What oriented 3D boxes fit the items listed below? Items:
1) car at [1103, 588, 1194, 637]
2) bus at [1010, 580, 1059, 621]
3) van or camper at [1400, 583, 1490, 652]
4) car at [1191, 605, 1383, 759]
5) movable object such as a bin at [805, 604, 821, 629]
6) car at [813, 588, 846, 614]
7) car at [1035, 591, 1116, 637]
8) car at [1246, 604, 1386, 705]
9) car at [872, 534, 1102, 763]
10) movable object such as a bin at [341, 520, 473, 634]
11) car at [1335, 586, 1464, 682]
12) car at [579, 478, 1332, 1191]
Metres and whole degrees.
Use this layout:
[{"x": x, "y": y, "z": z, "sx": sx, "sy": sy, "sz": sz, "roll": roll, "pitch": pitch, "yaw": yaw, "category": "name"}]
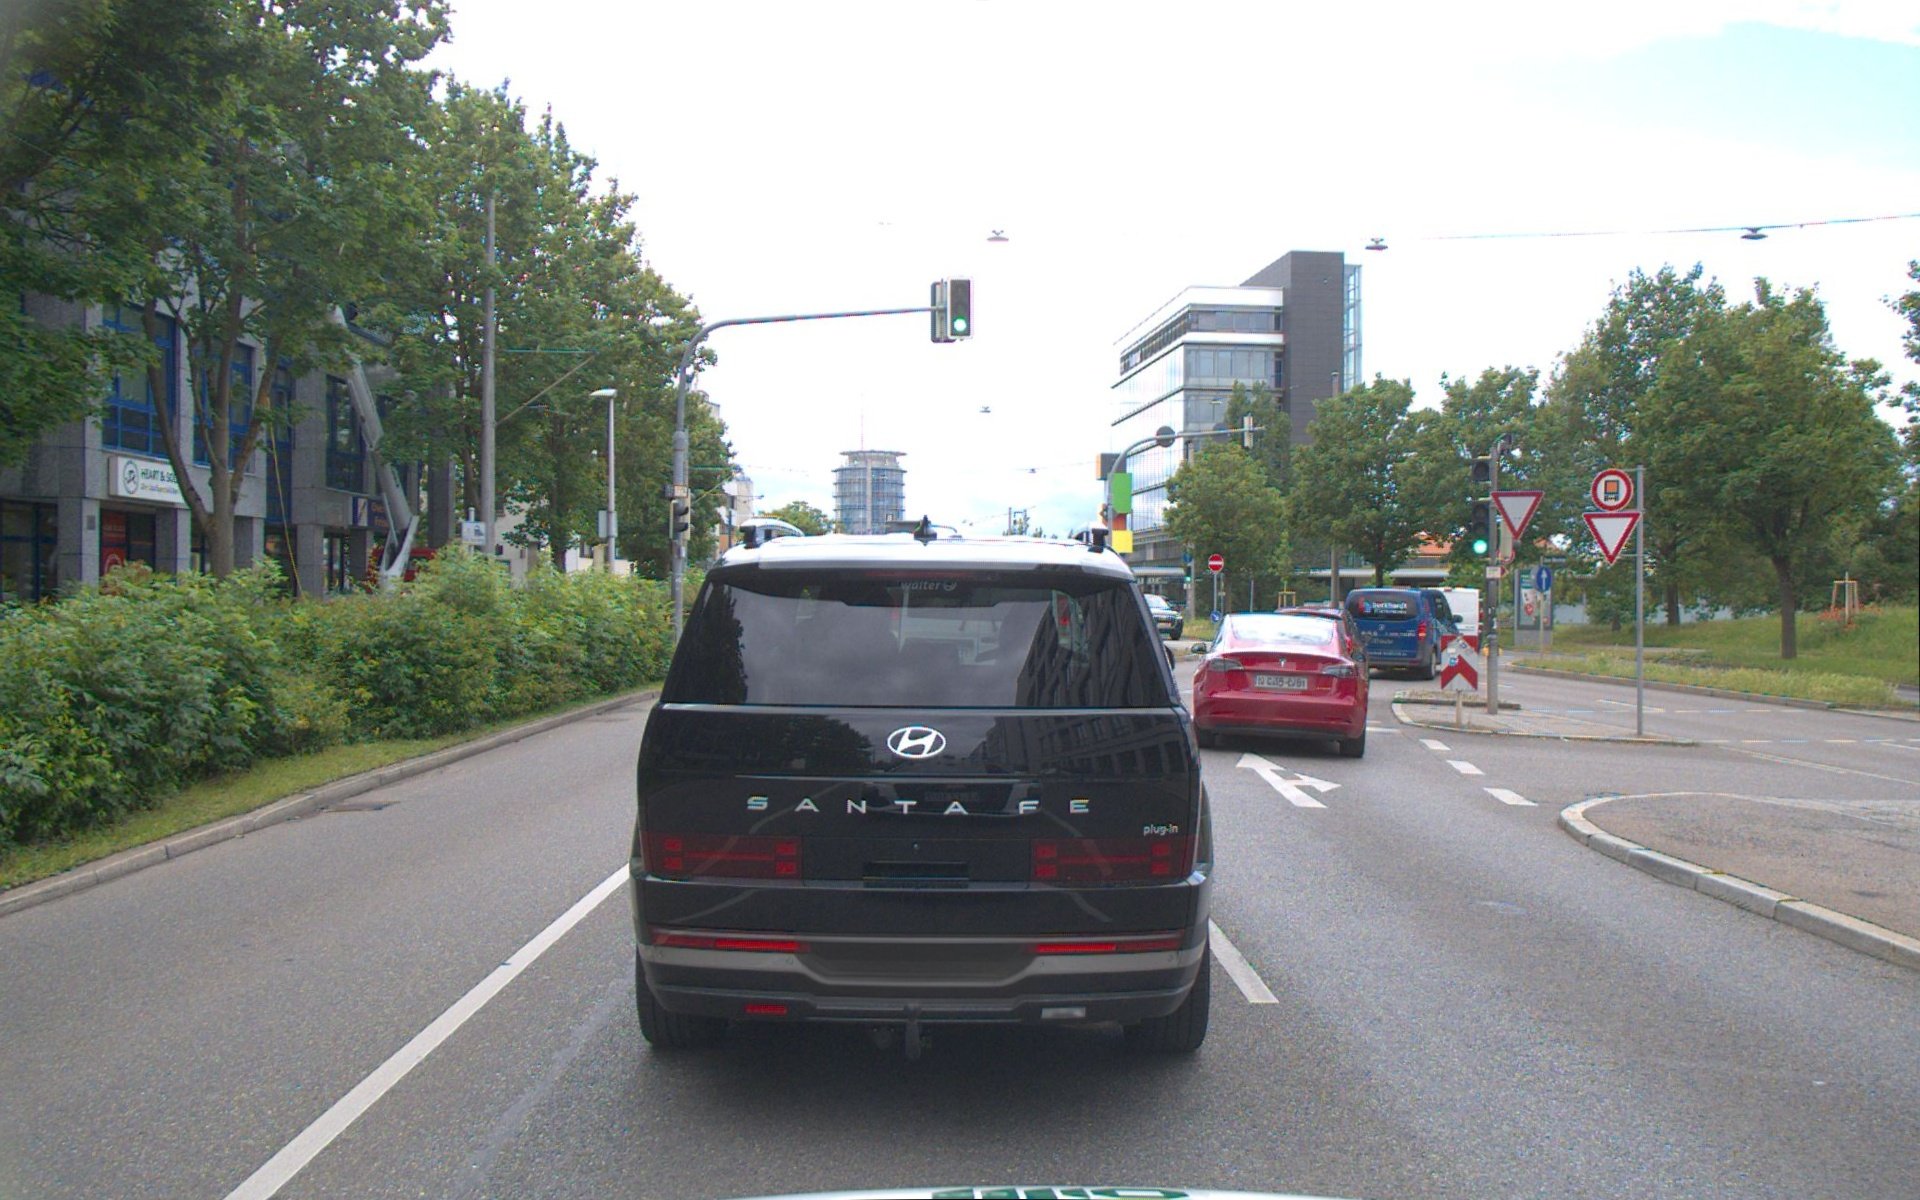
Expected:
[{"x": 6.793, "y": 0.434, "z": 60.037, "sx": 1.856, "sy": 1.592, "sz": 4.381, "roll": 2, "pitch": 1, "yaw": -13, "category": "car"}, {"x": 5.933, "y": 0.081, "z": 133.280, "sx": 2.908, "sy": 3.171, "sz": 9.236, "roll": -1, "pitch": 0, "yaw": -4, "category": "bus"}, {"x": 14.858, "y": 0.489, "z": 50.879, "sx": 1.951, "sy": 1.951, "sz": 4.413, "roll": 1, "pitch": 1, "yaw": 7, "category": "van or camper"}, {"x": 3.600, "y": 0.816, "z": 18.691, "sx": 1.833, "sy": 1.443, "sz": 4.446, "roll": 2, "pitch": 0, "yaw": 9, "category": "car"}, {"x": -6.098, "y": 0.685, "z": 68.596, "sx": 0.553, "sy": 1.030, "sz": 0.836, "roll": 1, "pitch": 0, "yaw": -11, "category": "movable object such as a bin"}, {"x": -8.451, "y": 0.041, "z": 106.669, "sx": 1.750, "sy": 1.564, "sz": 4.387, "roll": 2, "pitch": 0, "yaw": -9, "category": "car"}, {"x": 4.063, "y": 0.472, "z": 58.687, "sx": 1.751, "sy": 1.450, "sz": 4.384, "roll": 2, "pitch": 1, "yaw": -11, "category": "car"}, {"x": 5.975, "y": 0.846, "z": 27.478, "sx": 1.709, "sy": 1.507, "sz": 3.719, "roll": 1, "pitch": 0, "yaw": 21, "category": "car"}, {"x": 0.434, "y": 0.426, "z": 17.270, "sx": 1.862, "sy": 2.003, "sz": 4.639, "roll": 2, "pitch": 0, "yaw": 7, "category": "car"}, {"x": -13.491, "y": -0.546, "z": 40.594, "sx": 1.867, "sy": 2.575, "sz": 4.126, "roll": 2, "pitch": 0, "yaw": -2, "category": "movable object such as a bin"}, {"x": 9.666, "y": 0.707, "z": 36.115, "sx": 1.864, "sy": 1.891, "sz": 4.705, "roll": 2, "pitch": 0, "yaw": 25, "category": "car"}, {"x": -0.039, "y": 0.588, "z": 6.429, "sx": 1.863, "sy": 1.762, "sz": 4.445, "roll": 2, "pitch": 0, "yaw": -1, "category": "car"}]
